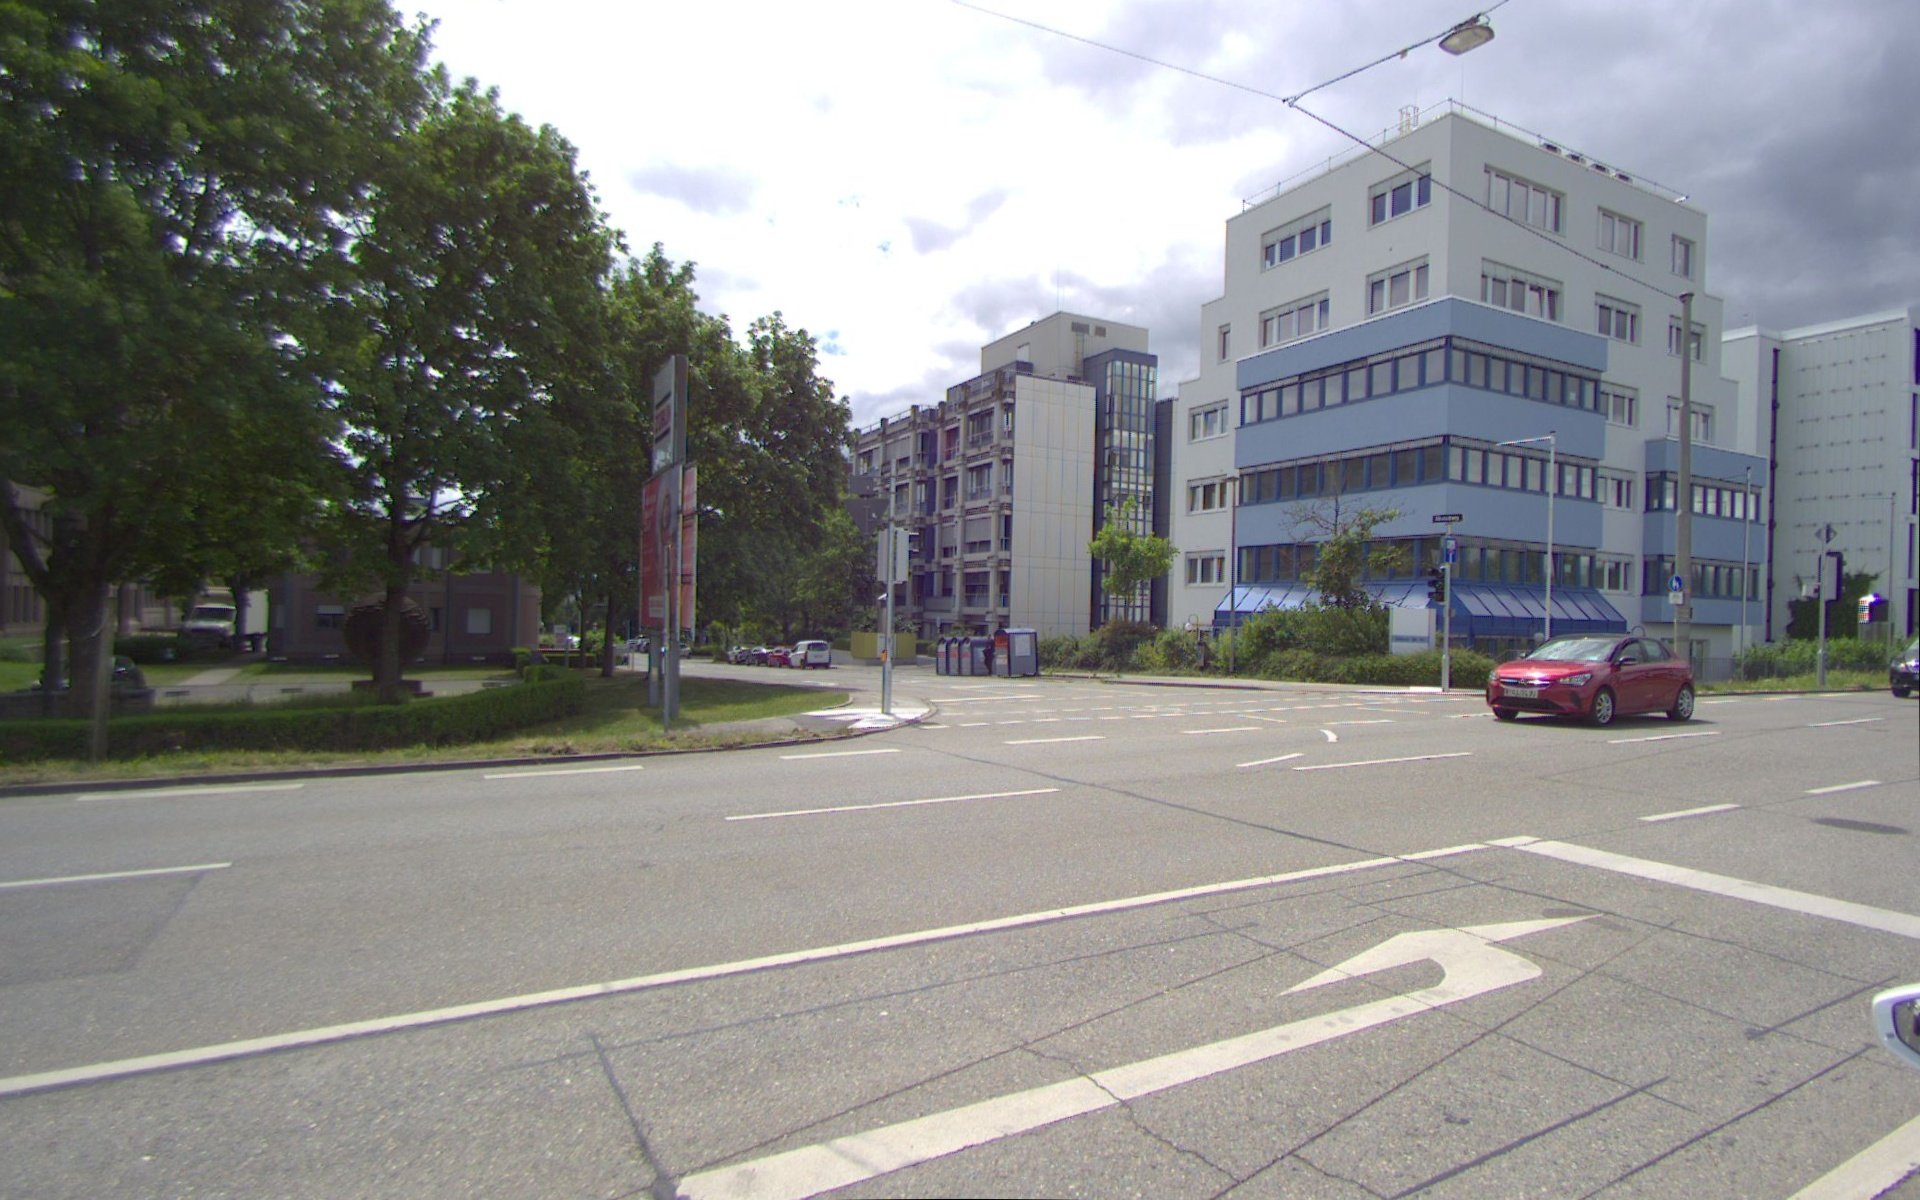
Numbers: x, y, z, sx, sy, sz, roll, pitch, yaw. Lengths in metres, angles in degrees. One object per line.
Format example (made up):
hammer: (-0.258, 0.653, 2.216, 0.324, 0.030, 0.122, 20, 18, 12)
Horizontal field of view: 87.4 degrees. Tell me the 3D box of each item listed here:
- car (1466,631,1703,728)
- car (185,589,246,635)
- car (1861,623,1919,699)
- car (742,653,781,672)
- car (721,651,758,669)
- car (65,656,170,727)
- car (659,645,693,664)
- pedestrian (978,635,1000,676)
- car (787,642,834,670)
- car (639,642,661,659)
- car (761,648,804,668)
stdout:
car: (10.511, 1.278, 16.852, 3.953, 1.434, 1.772, 2, -2, -30)
car: (-38.871, 0.610, 52.564, 1.976, 2.272, 3.969, 2, 0, -29)
car: (24.126, 1.462, 24.293, 4.700, 1.725, 1.986, 2, -1, -28)
car: (-14.606, 4.584, 73.828, 1.974, 1.347, 3.631, 1, -4, -26)
car: (-17.417, 4.733, 79.246, 1.974, 1.347, 3.631, 1, -4, -26)
car: (-18.335, 1.944, 21.968, 1.520, 1.221, 3.142, 2, 0, -36)
car: (-26.518, 5.112, 93.977, 1.960, 1.528, 4.001, 1, 0, 2)
pedestrian: (1.198, 2.314, 41.824, 0.613, 1.666, 0.745, 1, -4, -27)
car: (-9.590, 3.570, 64.119, 1.974, 1.715, 3.631, 1, -4, -26)
car: (-37.256, 6.076, 120.593, 1.973, 2.040, 3.976, 2, -3, -25)
car: (-12.210, 3.968, 69.020, 1.974, 1.347, 3.631, 1, -4, -26)
